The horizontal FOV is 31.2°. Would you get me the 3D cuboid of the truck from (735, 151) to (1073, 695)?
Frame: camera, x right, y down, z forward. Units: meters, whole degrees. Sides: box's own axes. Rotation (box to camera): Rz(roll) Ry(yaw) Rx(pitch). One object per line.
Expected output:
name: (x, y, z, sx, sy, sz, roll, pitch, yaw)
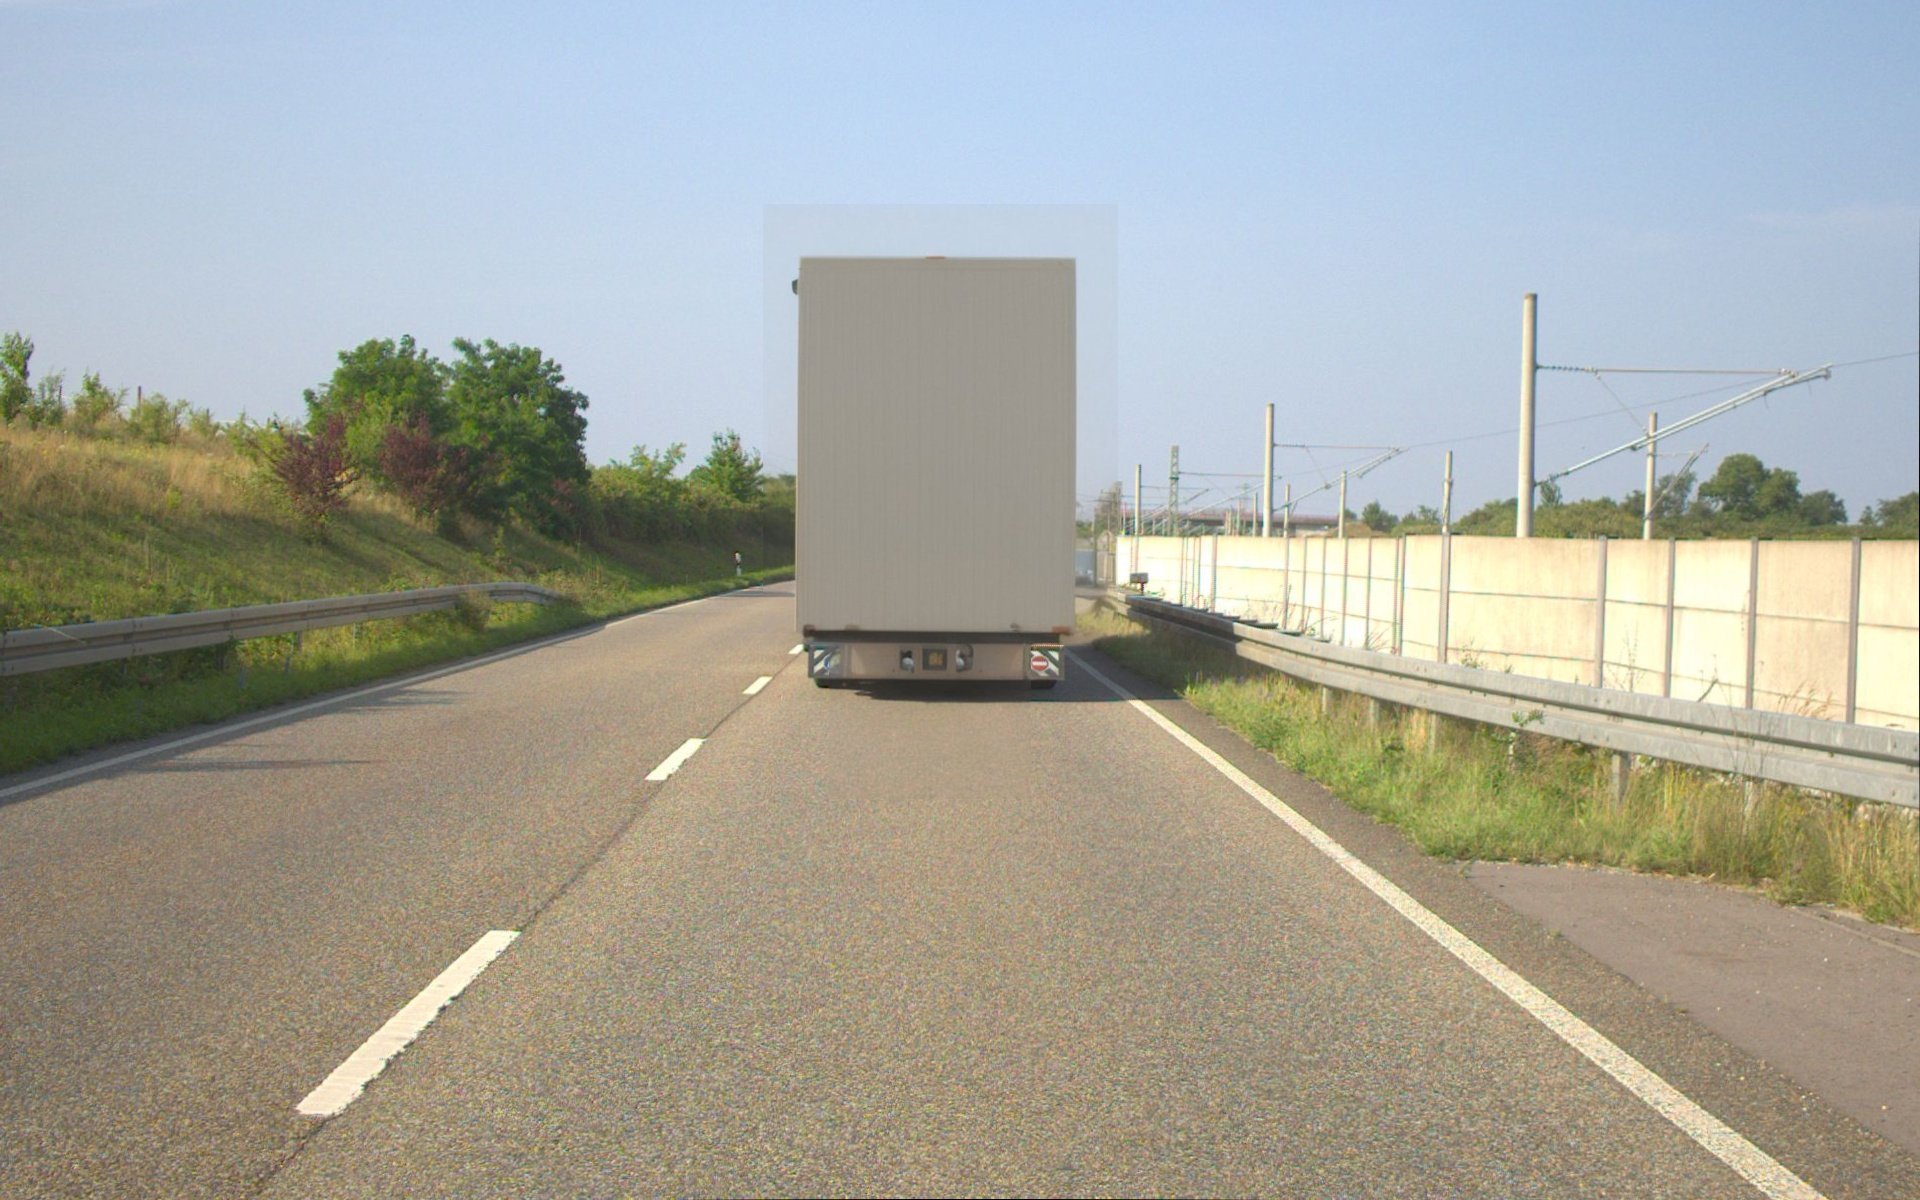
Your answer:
truck: (-0.582, -1.748, 36.949, 3.033, 4.903, 11.685, 0, 1, -1)
